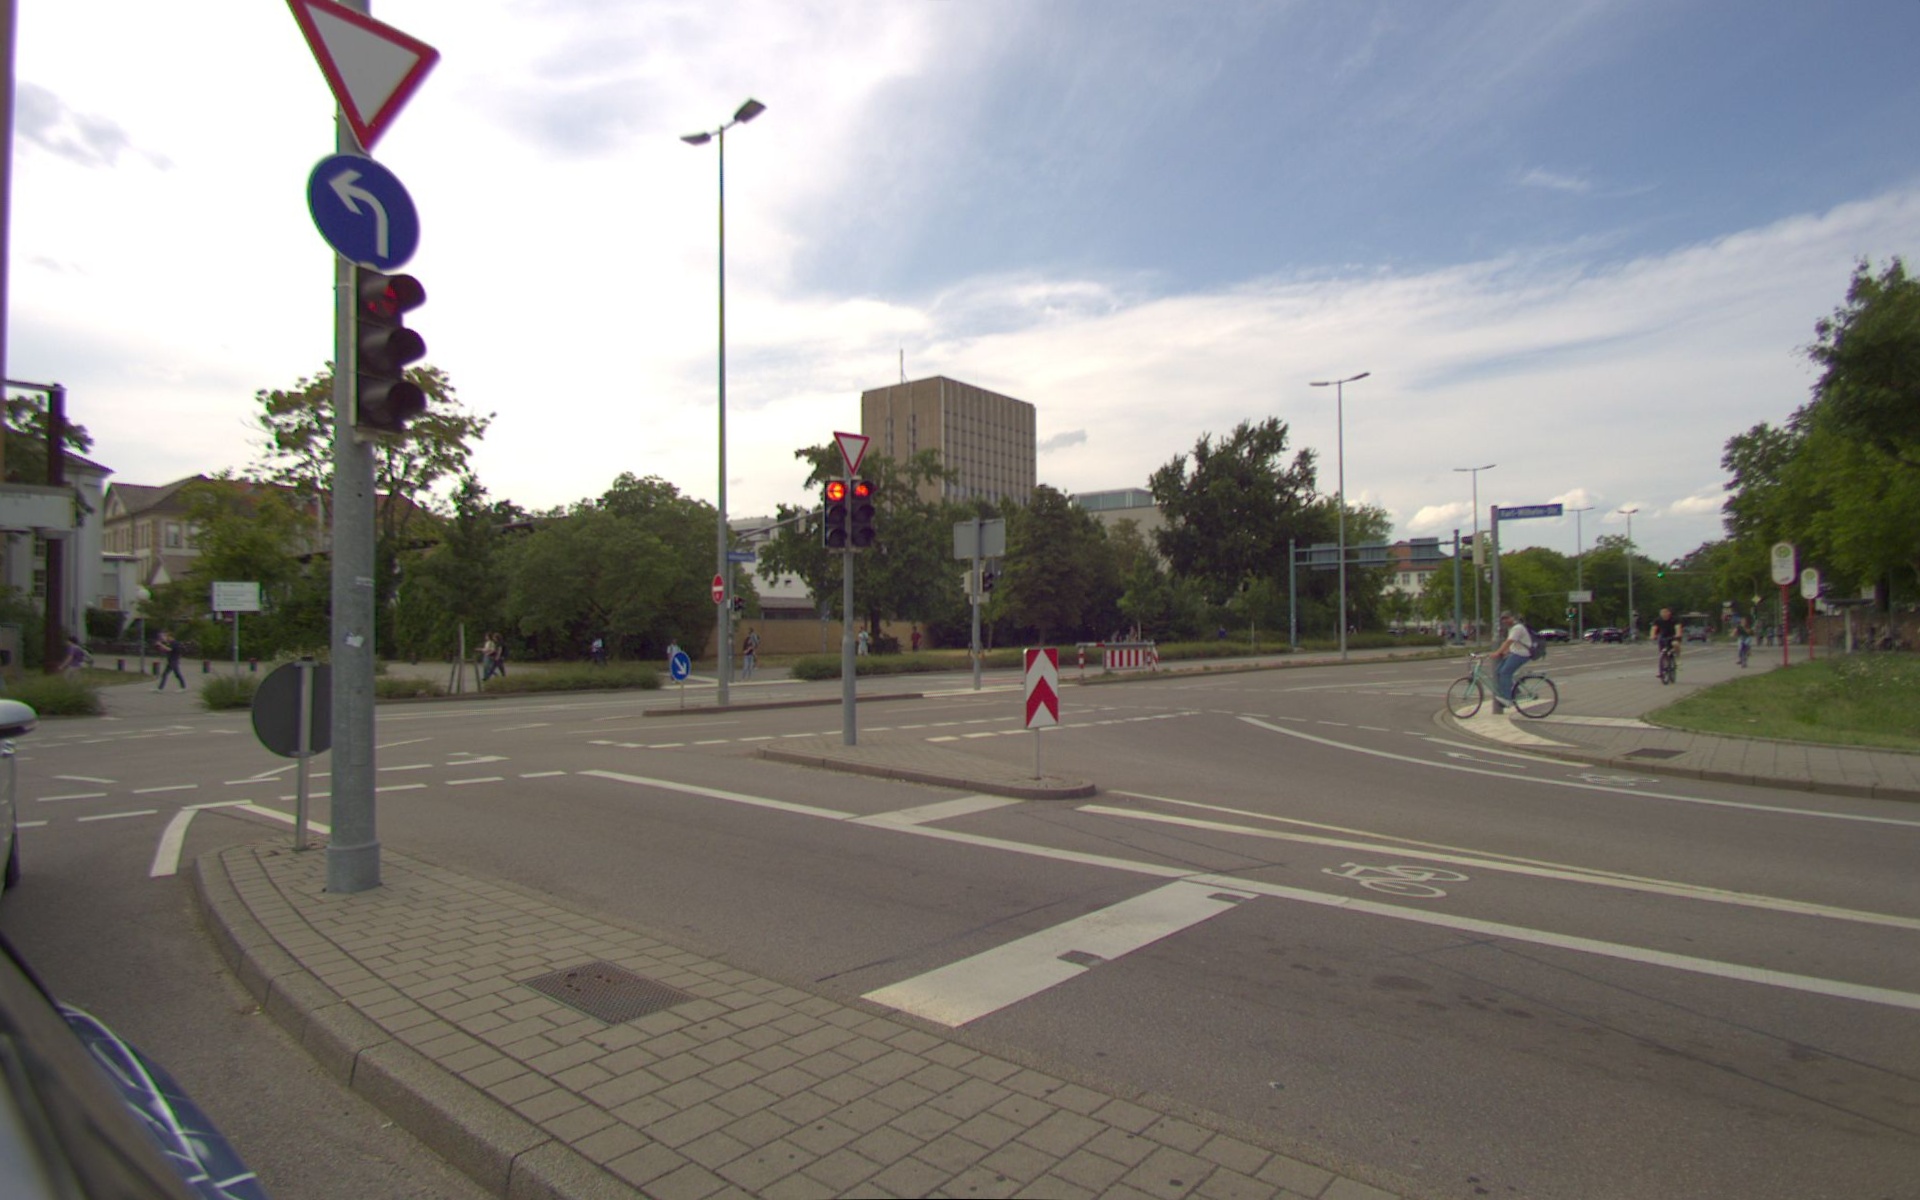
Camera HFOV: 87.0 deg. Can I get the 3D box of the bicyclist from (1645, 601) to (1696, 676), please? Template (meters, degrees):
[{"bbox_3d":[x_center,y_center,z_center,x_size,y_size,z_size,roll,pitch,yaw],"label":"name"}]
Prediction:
[{"bbox_3d":[15.396,0.819,21.934,0.784,1.567,0.581,-2,-1,-34],"label":"bicyclist"}]

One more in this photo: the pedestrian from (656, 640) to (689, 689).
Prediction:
[{"bbox_3d":[-10.247,2.299,36.048,0.827,1.724,0.801,0,-4,-42],"label":"pedestrian"}]

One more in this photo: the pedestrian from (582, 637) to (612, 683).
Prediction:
[{"bbox_3d":[-13.883,2.287,38.701,0.714,1.724,0.789,-5,-4,39],"label":"pedestrian"}]

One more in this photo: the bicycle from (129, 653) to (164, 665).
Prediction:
[{"bbox_3d":[-54.098,3.921,67.301,1.816,0.699,0.653,0,-4,-40],"label":"bicycle"}]

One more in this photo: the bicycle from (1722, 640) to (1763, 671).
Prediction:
[{"bbox_3d":[26.850,1.889,34.714,1.939,0.943,0.507,-2,-1,-34],"label":"bicycle"}]

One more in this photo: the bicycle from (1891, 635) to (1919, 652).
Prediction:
[{"bbox_3d":[52.129,2.388,55.729,0.657,0.894,1.564,-5,-4,22],"label":"bicycle"}]

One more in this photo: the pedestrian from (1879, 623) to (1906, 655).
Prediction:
[{"bbox_3d":[49.476,2.078,53.685,0.749,1.634,0.661,-3,-3,19],"label":"pedestrian"}]

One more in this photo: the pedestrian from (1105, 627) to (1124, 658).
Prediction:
[{"bbox_3d":[8.958,2.470,58.588,0.683,1.724,0.735,1,-4,-44],"label":"pedestrian"}]

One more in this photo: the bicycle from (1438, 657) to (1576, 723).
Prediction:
[{"bbox_3d":[8.868,1.453,16.437,1.942,0.943,0.506,-2,-1,-4],"label":"bicycle"}]

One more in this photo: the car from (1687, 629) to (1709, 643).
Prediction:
[{"bbox_3d":[86.483,4.223,118.545,1.699,1.492,4.356,-5,-4,40],"label":"car"}]

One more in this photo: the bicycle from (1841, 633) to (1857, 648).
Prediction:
[{"bbox_3d":[58.239,2.651,66.323,0.432,0.894,1.559,-6,-5,31],"label":"bicycle"}]

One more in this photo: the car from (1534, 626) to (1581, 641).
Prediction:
[{"bbox_3d":[62.277,3.457,105.490,1.759,1.501,4.142,1,0,-17],"label":"car"}]

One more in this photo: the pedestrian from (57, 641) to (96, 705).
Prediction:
[{"bbox_3d":[-24.812,2.046,28.421,0.788,1.724,0.840,1,-4,-44],"label":"pedestrian"}]

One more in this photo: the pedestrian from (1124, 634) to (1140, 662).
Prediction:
[{"bbox_3d":[11.024,3.068,64.873,0.714,1.724,0.685,-5,-4,42],"label":"pedestrian"}]

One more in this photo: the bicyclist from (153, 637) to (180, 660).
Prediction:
[{"bbox_3d":[-46.094,2.809,58.799,0.836,1.287,1.002,-4,-4,31],"label":"bicyclist"}]

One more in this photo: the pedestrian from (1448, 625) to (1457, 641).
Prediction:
[{"bbox_3d":[55.656,3.729,114.399,0.714,1.724,0.685,-5,-4,42],"label":"pedestrian"}]

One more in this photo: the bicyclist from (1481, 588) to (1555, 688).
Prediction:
[{"bbox_3d":[9.069,0.608,16.462,0.786,1.567,0.580,-2,-1,-4],"label":"bicyclist"}]

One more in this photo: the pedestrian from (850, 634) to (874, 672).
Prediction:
[{"bbox_3d":[-4.588,2.493,47.482,0.841,1.724,0.686,-5,-4,39],"label":"pedestrian"}]

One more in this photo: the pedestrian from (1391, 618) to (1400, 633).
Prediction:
[{"bbox_3d":[53.298,3.096,123.801,0.769,1.724,0.685,-5,-4,42],"label":"pedestrian"}]

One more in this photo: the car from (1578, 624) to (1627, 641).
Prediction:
[{"bbox_3d":[62.226,3.129,98.077,1.761,1.501,4.138,1,0,-9],"label":"car"}]

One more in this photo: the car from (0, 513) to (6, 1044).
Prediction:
[{"bbox_3d":[-5.400,0.722,4.311,4.530,1.747,1.798,-5,-4,45],"label":"car"}]

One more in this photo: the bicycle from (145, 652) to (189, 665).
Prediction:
[{"bbox_3d":[-46.051,3.385,58.794,0.840,0.699,1.826,-4,-3,30],"label":"bicycle"}]

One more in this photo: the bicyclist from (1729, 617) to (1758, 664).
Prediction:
[{"bbox_3d":[26.949,1.393,34.807,0.784,1.567,0.496,-2,-1,-34],"label":"bicyclist"}]

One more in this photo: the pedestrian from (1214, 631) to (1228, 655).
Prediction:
[{"bbox_3d":[19.125,3.133,74.111,0.714,1.724,0.685,-5,-4,42],"label":"pedestrian"}]

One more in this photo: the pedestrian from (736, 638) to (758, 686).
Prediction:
[{"bbox_3d":[-7.875,2.285,37.463,0.579,1.724,0.482,1,-4,-42],"label":"pedestrian"}]

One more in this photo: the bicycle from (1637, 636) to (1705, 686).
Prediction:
[{"bbox_3d":[15.396,1.300,21.906,1.939,0.943,0.507,-2,-1,-34],"label":"bicycle"}]

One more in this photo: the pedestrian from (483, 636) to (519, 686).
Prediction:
[{"bbox_3d":[-16.199,2.136,35.749,0.835,1.724,0.792,-4,-3,27],"label":"pedestrian"}]

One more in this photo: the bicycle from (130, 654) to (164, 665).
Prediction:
[{"bbox_3d":[-55.231,4.044,68.770,1.816,0.699,0.653,0,-4,-40],"label":"bicycle"}]

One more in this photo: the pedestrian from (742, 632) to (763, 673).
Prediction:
[{"bbox_3d":[-8.858,2.236,43.199,0.544,1.709,0.686,0,-1,39],"label":"pedestrian"}]

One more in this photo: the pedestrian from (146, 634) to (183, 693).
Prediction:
[{"bbox_3d":[-23.903,1.896,30.397,0.788,1.724,0.840,1,-4,-44],"label":"pedestrian"}]

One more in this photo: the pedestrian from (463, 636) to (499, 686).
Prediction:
[{"bbox_3d":[-17.023,2.170,35.975,0.835,1.724,0.792,-4,-3,27],"label":"pedestrian"}]

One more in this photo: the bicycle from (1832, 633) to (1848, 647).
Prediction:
[{"bbox_3d":[59.009,2.698,67.862,0.432,0.894,1.559,-6,-5,31],"label":"bicycle"}]

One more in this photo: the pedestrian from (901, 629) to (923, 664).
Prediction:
[{"bbox_3d":[-2.358,2.291,49.832,0.714,1.724,0.685,-5,-4,42],"label":"pedestrian"}]

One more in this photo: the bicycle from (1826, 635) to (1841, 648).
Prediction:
[{"bbox_3d":[59.966,2.835,69.471,0.432,0.894,1.559,-6,-5,31],"label":"bicycle"}]
